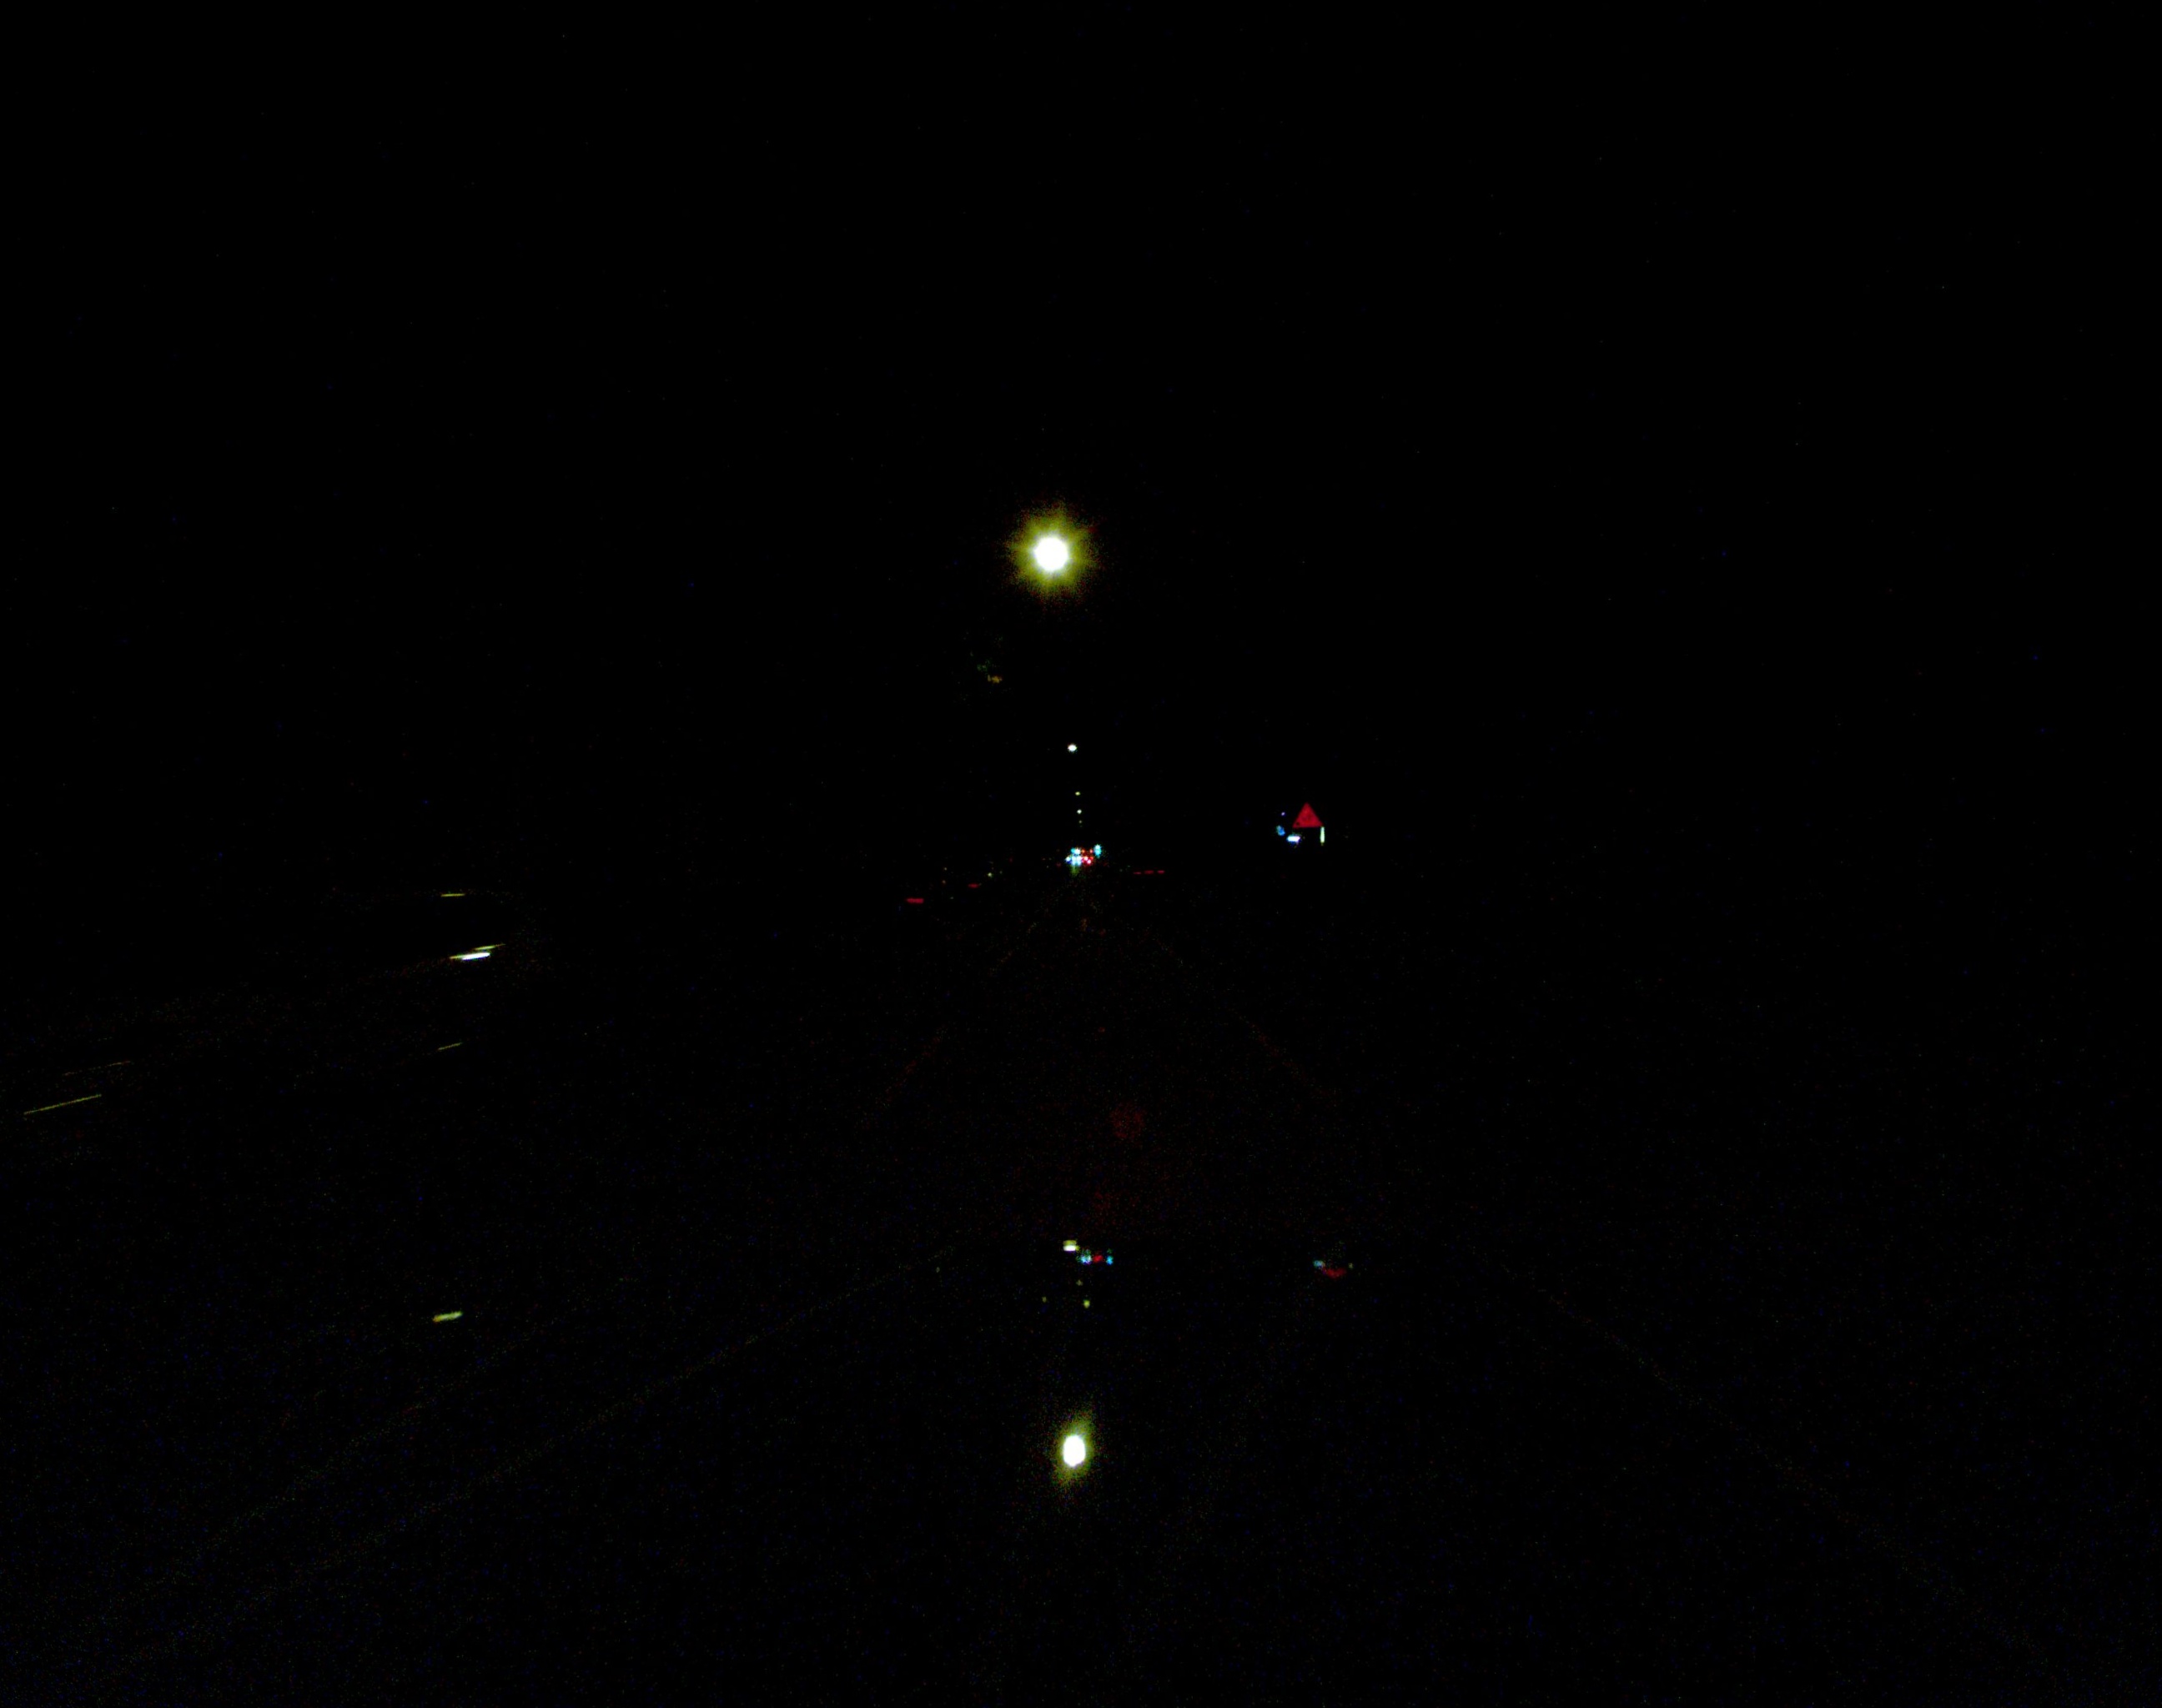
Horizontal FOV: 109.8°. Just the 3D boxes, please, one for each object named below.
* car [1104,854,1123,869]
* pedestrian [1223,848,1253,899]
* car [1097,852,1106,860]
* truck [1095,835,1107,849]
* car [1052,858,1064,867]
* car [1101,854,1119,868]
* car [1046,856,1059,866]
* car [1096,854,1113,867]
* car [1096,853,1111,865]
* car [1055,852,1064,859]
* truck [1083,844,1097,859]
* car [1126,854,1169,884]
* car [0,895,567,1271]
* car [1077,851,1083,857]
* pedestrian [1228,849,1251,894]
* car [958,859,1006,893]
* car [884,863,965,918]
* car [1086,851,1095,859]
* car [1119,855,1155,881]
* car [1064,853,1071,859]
[{"bbox_3d":[3.866,0.886,90.784,1.874,1.635,3.999,-2,0,-3],"label":"car"},{"bbox_3d":[5.304,0.637,25.744,0.744,1.662,1.103,-2,1,-1],"label":"pedestrian"},{"bbox_3d":[4.606,0.445,170.298,1.873,1.551,4.353,-2,0,1],"label":"car"},{"bbox_3d":[3.848,-2.244,145.460,2.084,2.562,6.873,-2,0,1],"label":"truck"},{"bbox_3d":[-3.748,1.322,125.035,1.874,1.407,4.000,-2,0,-1],"label":"car"},{"bbox_3d":[3.612,0.858,95.221,1.874,1.635,3.999,-2,0,-3],"label":"car"},{"bbox_3d":[-4.380,1.115,117.706,1.874,1.407,4.000,-2,0,-1],"label":"car"},{"bbox_3d":[3.107,0.826,101.211,1.874,1.635,3.999,-2,0,-3],"label":"car"},{"bbox_3d":[3.239,0.765,109.713,1.874,1.635,3.999,-2,0,-3],"label":"car"},{"bbox_3d":[-4.341,0.299,154.225,1.874,1.407,4.000,-2,0,-1],"label":"car"},{"bbox_3d":[2.222,-0.533,183.616,3.222,3.359,8.850,-2,0,1],"label":"truck"},{"bbox_3d":[3.667,0.803,42.561,1.864,1.523,4.587,-4,0,-1],"label":"car"},{"bbox_3d":[-5.528,1.108,5.144,1.672,1.476,3.603,0,0,-1],"label":"car"},{"bbox_3d":[-0.297,-0.034,215.815,1.775,1.672,3.814,-2,0,0],"label":"car"},{"bbox_3d":[6.271,0.675,30.065,0.670,1.716,0.866,-2,0,-3],"label":"pedestrian"},{"bbox_3d":[-4.825,1.045,37.684,1.742,1.588,4.359,0,0,1],"label":"car"},{"bbox_3d":[-4.870,1.093,24.221,1.865,1.544,4.044,0,0,-2],"label":"car"},{"bbox_3d":[1.955,0.125,162.450,1.873,1.635,4.000,-2,0,1],"label":"car"},{"bbox_3d":[3.485,0.851,47.884,1.864,1.458,3.896,-4,0,-1],"label":"car"},{"bbox_3d":[-3.734,0.552,208.888,1.793,1.829,3.845,-2,0,-1],"label":"car"}]
